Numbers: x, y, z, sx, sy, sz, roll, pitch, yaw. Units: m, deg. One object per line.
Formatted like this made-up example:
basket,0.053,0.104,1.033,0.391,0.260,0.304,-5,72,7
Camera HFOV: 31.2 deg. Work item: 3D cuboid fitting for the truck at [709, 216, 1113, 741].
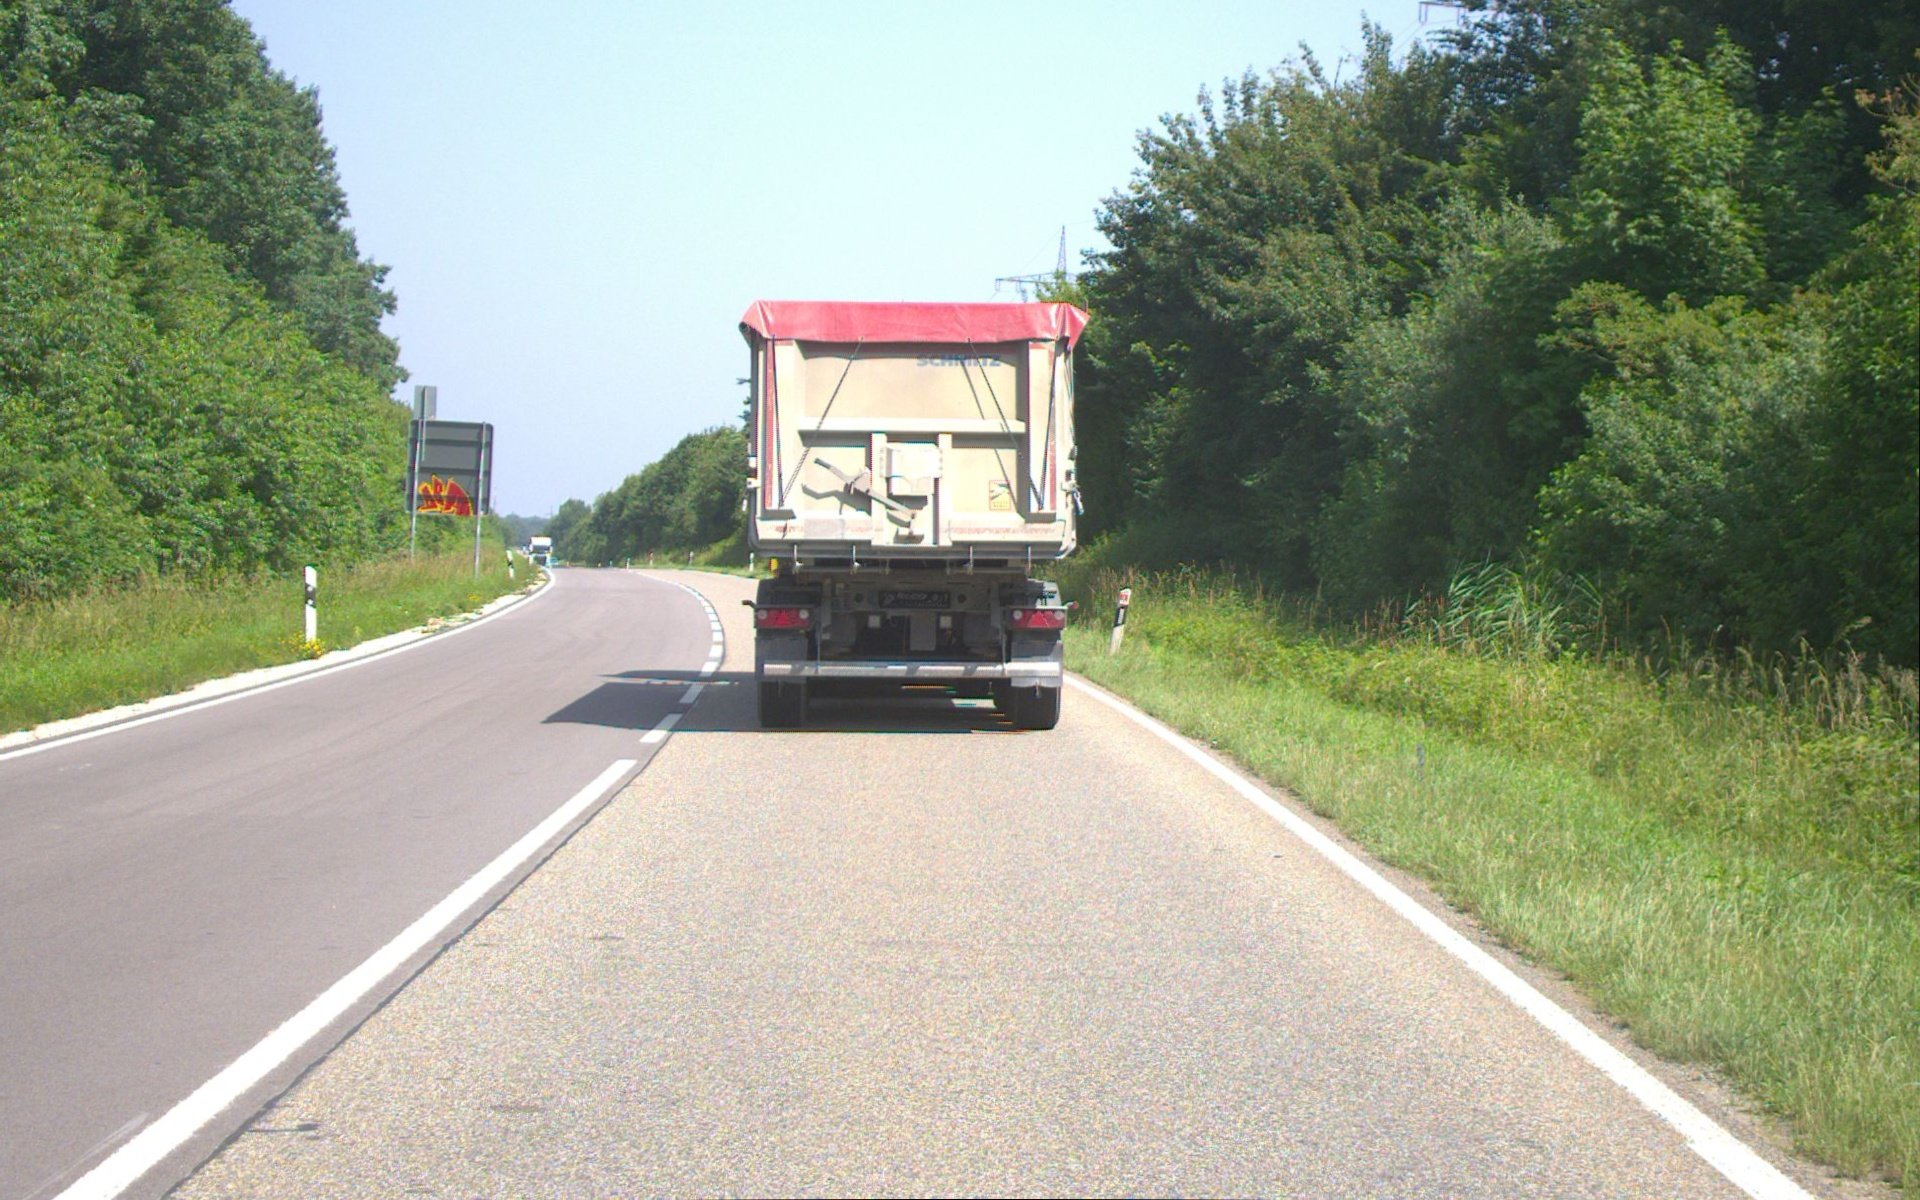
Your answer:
truck,-0.802,-1.040,32.115,2.893,3.949,11.935,1,1,-5
